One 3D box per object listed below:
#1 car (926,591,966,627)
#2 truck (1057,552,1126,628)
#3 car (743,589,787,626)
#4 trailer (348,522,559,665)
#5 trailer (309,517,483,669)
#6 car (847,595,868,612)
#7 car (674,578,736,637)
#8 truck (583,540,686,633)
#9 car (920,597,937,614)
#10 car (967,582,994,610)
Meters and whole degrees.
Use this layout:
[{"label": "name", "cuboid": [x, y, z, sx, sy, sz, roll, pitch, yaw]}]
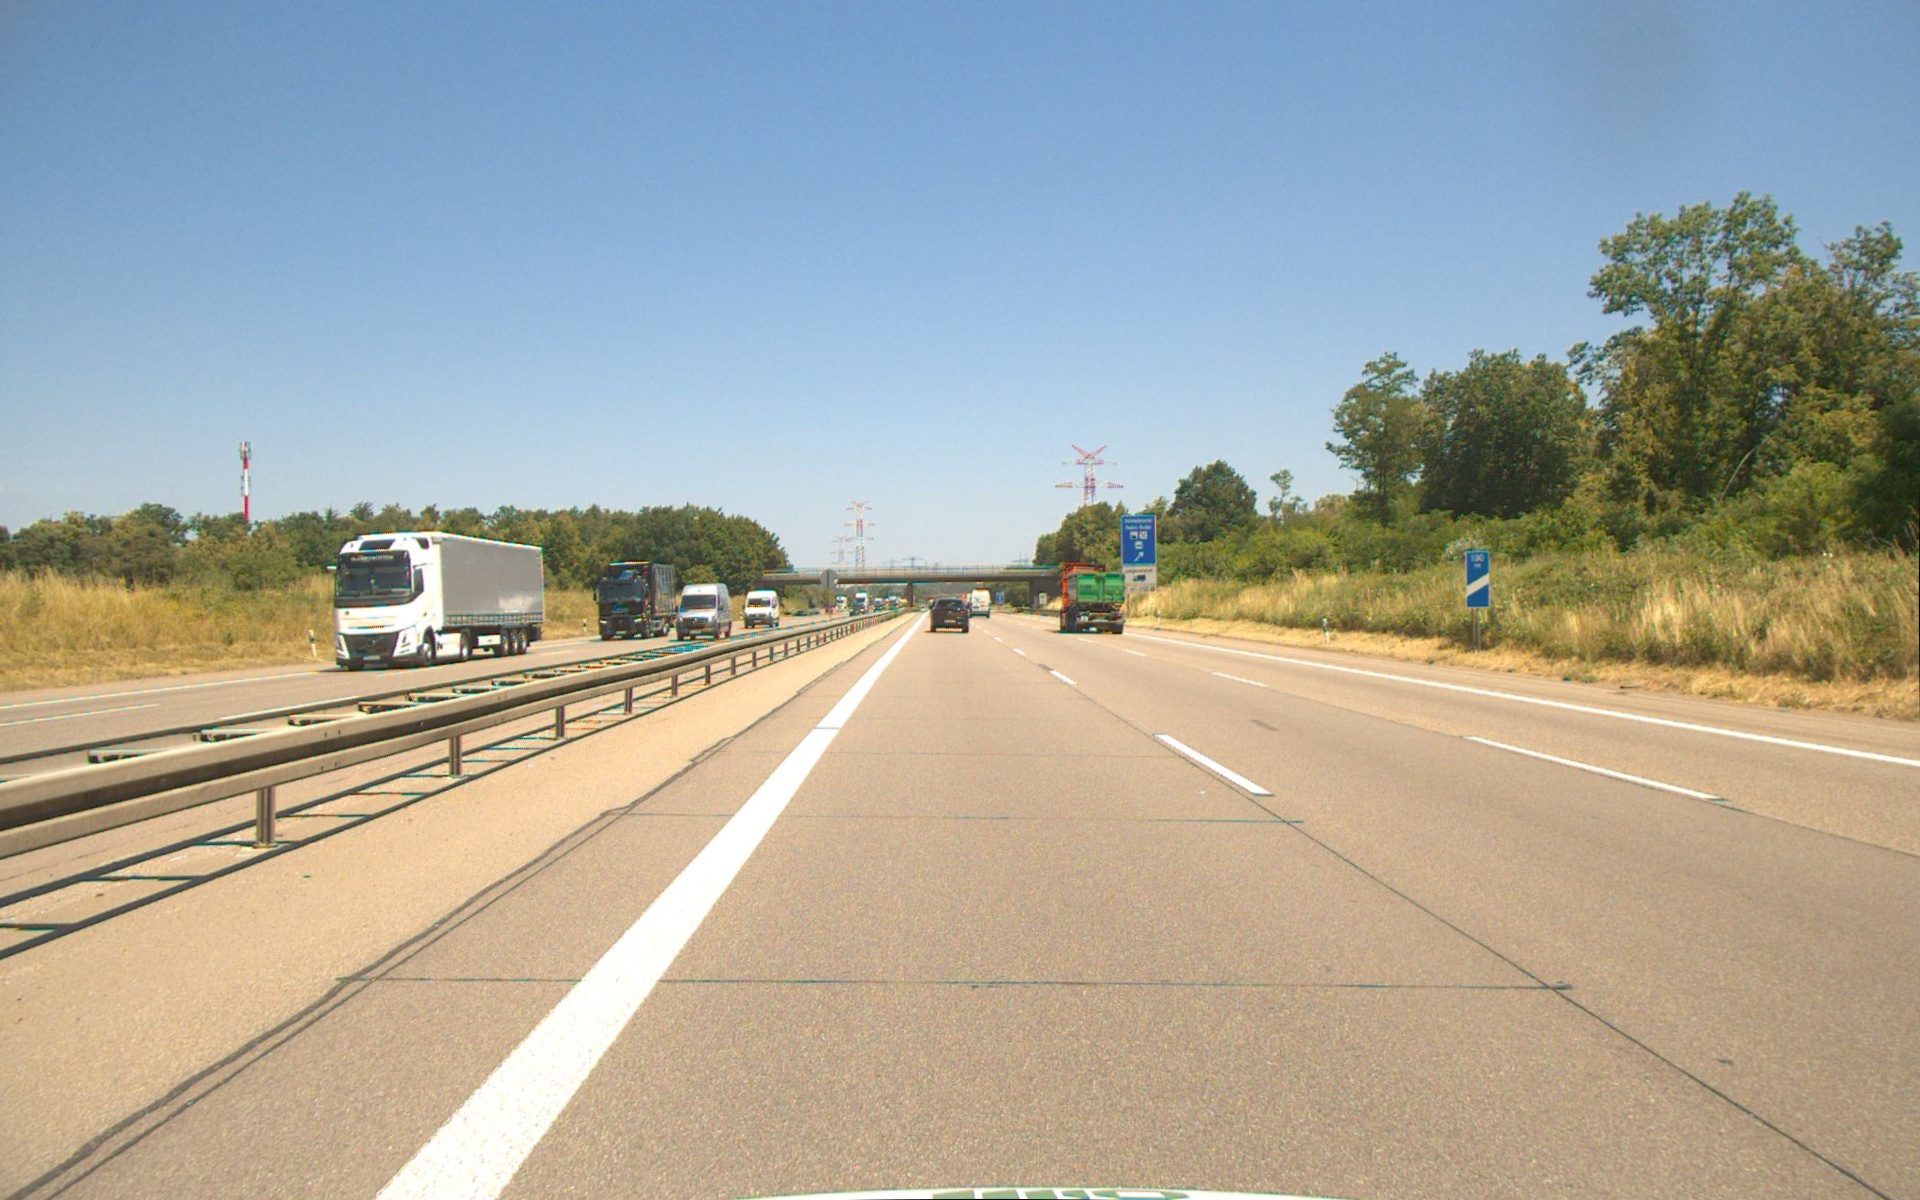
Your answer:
[{"label": "car", "cuboid": [-0.718, 0.454, 84.391, 1.953, 1.780, 3.999, 1, 0, -1]}, {"label": "truck", "cuboid": [7.155, -0.514, 91.772, 2.626, 3.864, 12.476, 1, 0, -1]}, {"label": "car", "cuboid": [-13.894, 0.512, 118.435, 2.316, 2.491, 7.131, -2, 0, -1]}, {"label": "trailer", "cuboid": [-17.394, -0.217, 58.246, 3.091, 4.271, 14.123, -3, 0, -1]}, {"label": "trailer", "cuboid": [-17.285, -0.211, 51.165, 3.091, 4.271, 6.324, -3, 0, -1]}, {"label": "car", "cuboid": [-12.473, 0.393, 201.445, 2.316, 1.928, 5.223, -3, 0, -1]}, {"label": "car", "cuboid": [-12.128, 0.349, 79.162, 1.953, 2.615, 6.389, -2, 0, -1]}, {"label": "truck", "cuboid": [-17.922, -0.704, 92.038, 3.308, 4.705, 12.184, -3, 0, -1]}, {"label": "car", "cuboid": [-3.318, 0.584, 173.438, 1.758, 1.780, 3.999, 1, 0, -1]}, {"label": "car", "cuboid": [2.066, -0.376, 169.723, 2.568, 2.807, 6.095, 1, 0, -1]}]
